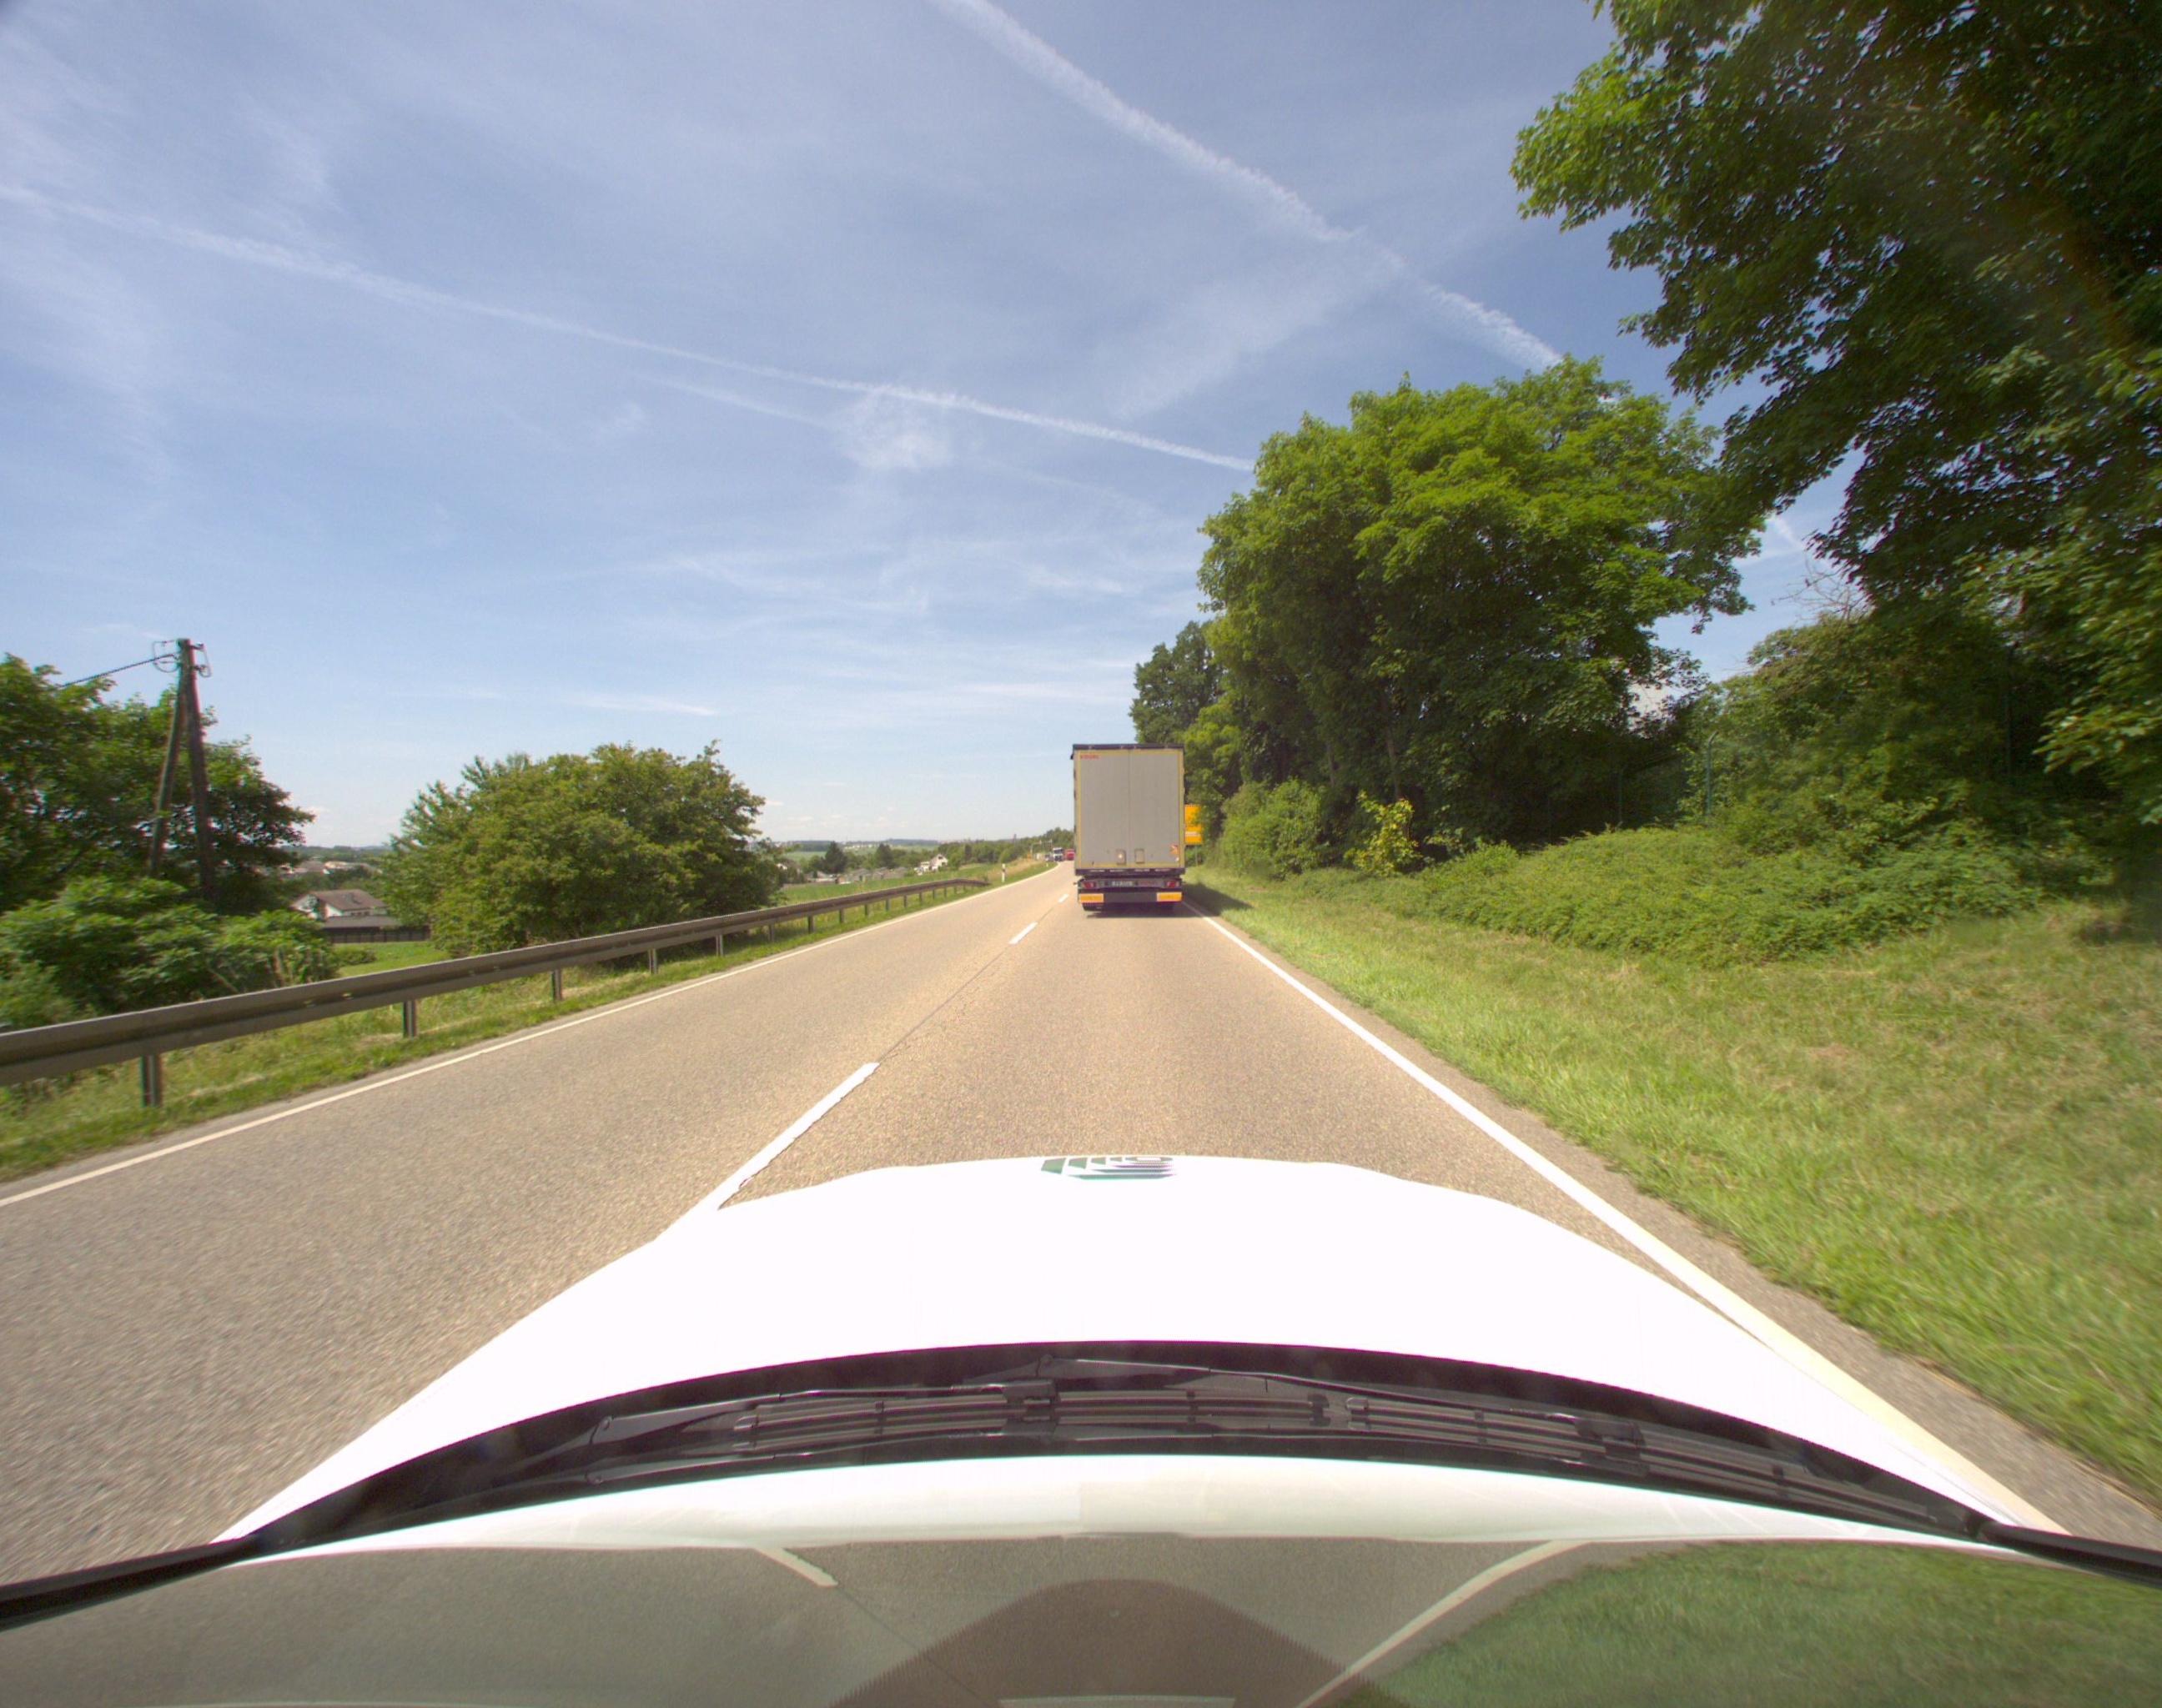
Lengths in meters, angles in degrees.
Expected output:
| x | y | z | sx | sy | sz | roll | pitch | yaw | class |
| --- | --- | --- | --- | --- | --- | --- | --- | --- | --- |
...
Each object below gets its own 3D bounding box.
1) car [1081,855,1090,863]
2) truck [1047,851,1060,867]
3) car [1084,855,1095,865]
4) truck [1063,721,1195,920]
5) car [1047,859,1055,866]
| x | y | z | sx | sy | sz | roll | pitch | yaw | class |
| --- | --- | --- | --- | --- | --- | --- | --- | --- | --- |
| 1.164 | 1.255 | 204.000 | 1.888 | 1.777 | 4.381 | -4 | 0 | -3 | car |
| -6.621 | 1.253 | 195.169 | 2.750 | 3.576 | 11.053 | -4 | -1 | -3 | truck |
| 1.948 | 1.395 | 190.569 | 2.166 | 2.013 | 4.521 | -4 | 0 | -3 | car |
| 1.241 | -0.756 | 22.611 | 2.896 | 4.410 | 8.864 | -1 | 0 | 2 | truck |
| -9.156 | 2.468 | 248.187 | 1.991 | 1.950 | 4.494 | -4 | 0 | -5 | car |
